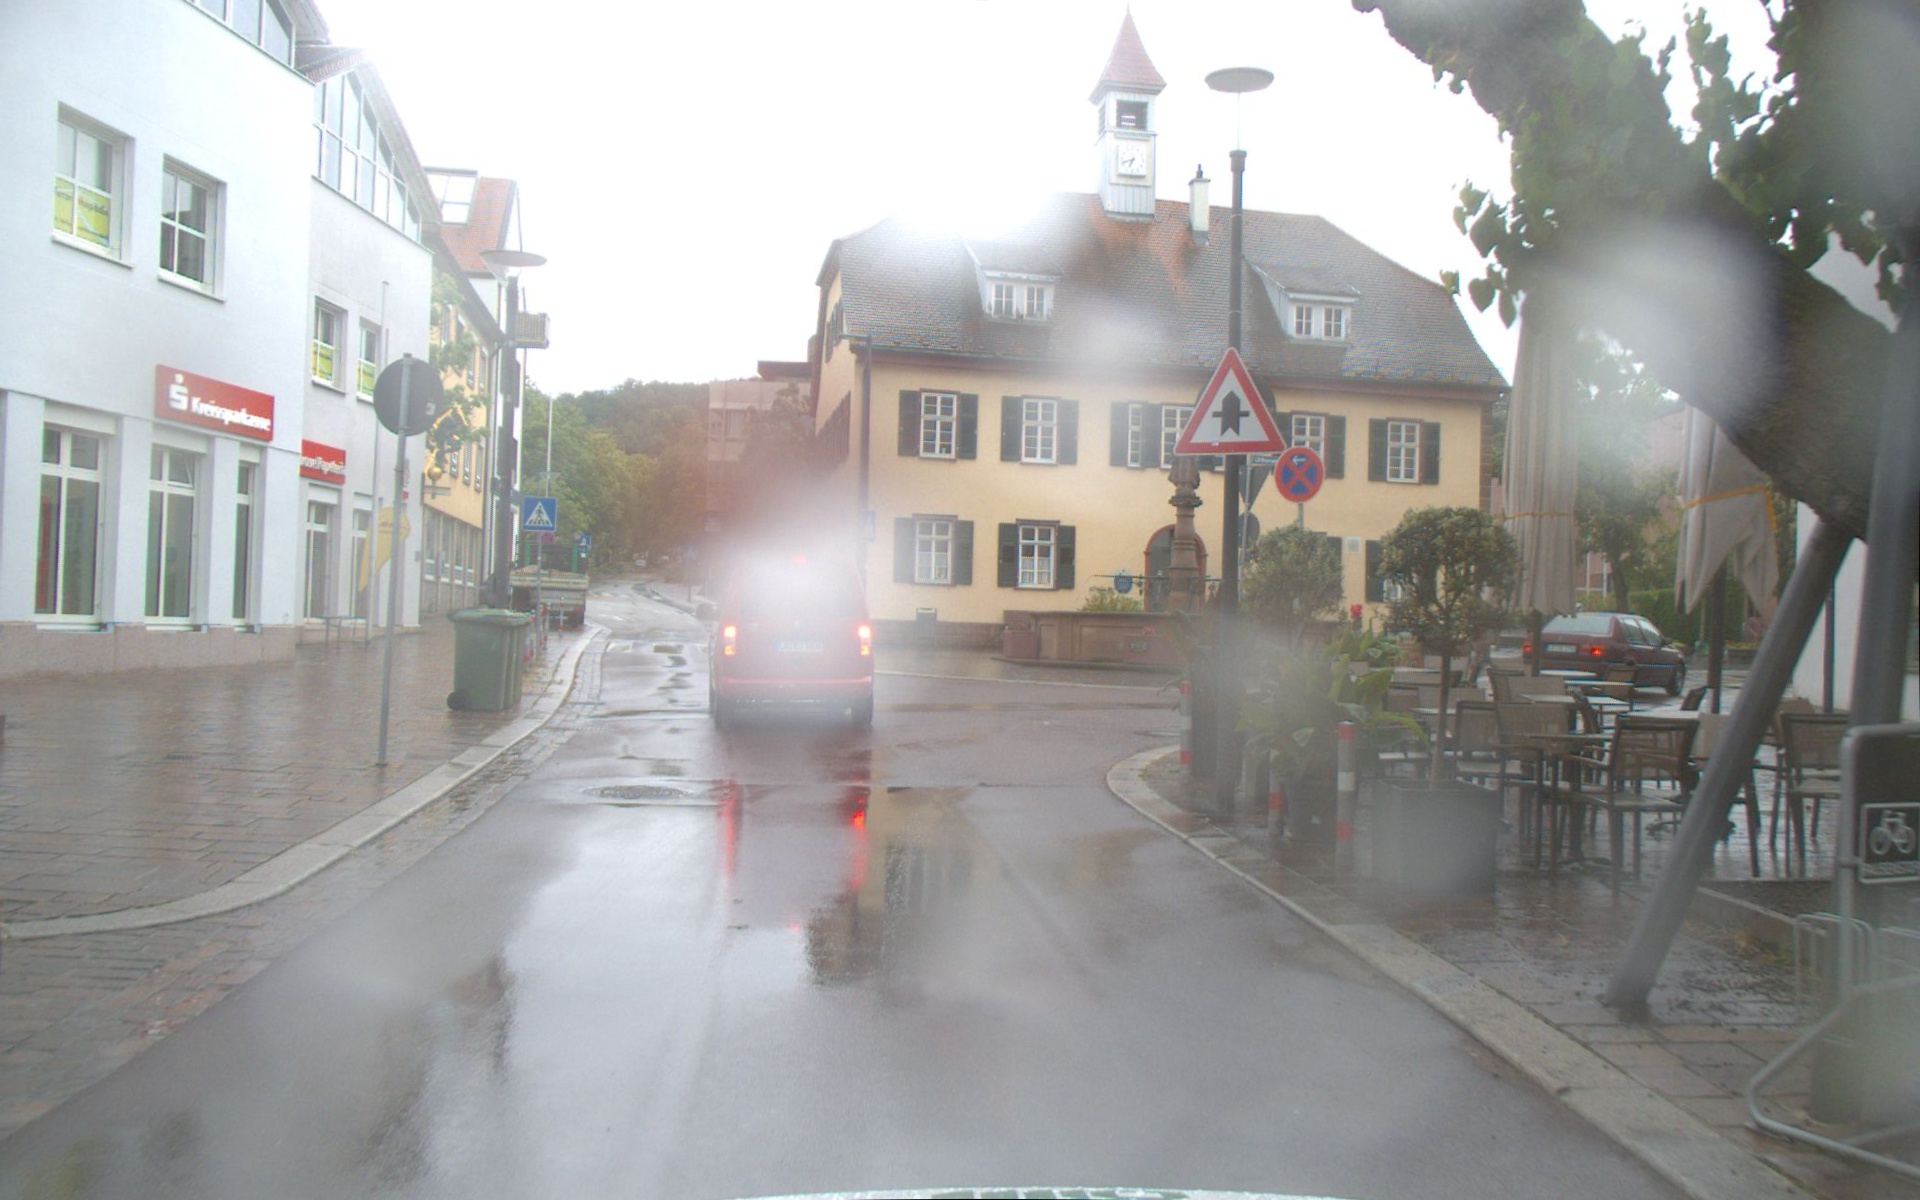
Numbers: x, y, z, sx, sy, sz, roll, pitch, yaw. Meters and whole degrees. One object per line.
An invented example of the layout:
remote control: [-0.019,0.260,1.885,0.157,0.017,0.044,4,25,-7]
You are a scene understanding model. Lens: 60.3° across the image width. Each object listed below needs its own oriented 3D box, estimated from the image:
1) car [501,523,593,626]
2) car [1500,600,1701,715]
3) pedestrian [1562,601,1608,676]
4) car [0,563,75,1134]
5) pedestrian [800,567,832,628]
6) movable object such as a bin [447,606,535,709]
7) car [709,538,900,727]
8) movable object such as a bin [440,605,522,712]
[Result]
car: [-11.874,-0.635,47.837,2.260,2.647,6.934,3,-1,-13]
car: [11.211,1.023,28.814,1.965,1.831,3.975,1,-2,42]
pedestrian: [15.994,0.984,42.339,0.880,1.874,0.766,2,-2,5]
car: [-3.201,0.648,2.639,1.754,1.521,3.994,3,0,-7]
pedestrian: [-4.568,-0.088,52.404,0.747,1.874,0.902,2,-2,8]
movable object such as a bin: [-5.360,0.656,18.959,0.778,1.125,0.721,3,-2,-4]
car: [-1.876,0.292,18.882,1.859,1.843,3.993,3,1,-9]
movable object such as a bin: [-5.276,0.643,18.263,0.700,1.125,0.599,3,-2,-4]
